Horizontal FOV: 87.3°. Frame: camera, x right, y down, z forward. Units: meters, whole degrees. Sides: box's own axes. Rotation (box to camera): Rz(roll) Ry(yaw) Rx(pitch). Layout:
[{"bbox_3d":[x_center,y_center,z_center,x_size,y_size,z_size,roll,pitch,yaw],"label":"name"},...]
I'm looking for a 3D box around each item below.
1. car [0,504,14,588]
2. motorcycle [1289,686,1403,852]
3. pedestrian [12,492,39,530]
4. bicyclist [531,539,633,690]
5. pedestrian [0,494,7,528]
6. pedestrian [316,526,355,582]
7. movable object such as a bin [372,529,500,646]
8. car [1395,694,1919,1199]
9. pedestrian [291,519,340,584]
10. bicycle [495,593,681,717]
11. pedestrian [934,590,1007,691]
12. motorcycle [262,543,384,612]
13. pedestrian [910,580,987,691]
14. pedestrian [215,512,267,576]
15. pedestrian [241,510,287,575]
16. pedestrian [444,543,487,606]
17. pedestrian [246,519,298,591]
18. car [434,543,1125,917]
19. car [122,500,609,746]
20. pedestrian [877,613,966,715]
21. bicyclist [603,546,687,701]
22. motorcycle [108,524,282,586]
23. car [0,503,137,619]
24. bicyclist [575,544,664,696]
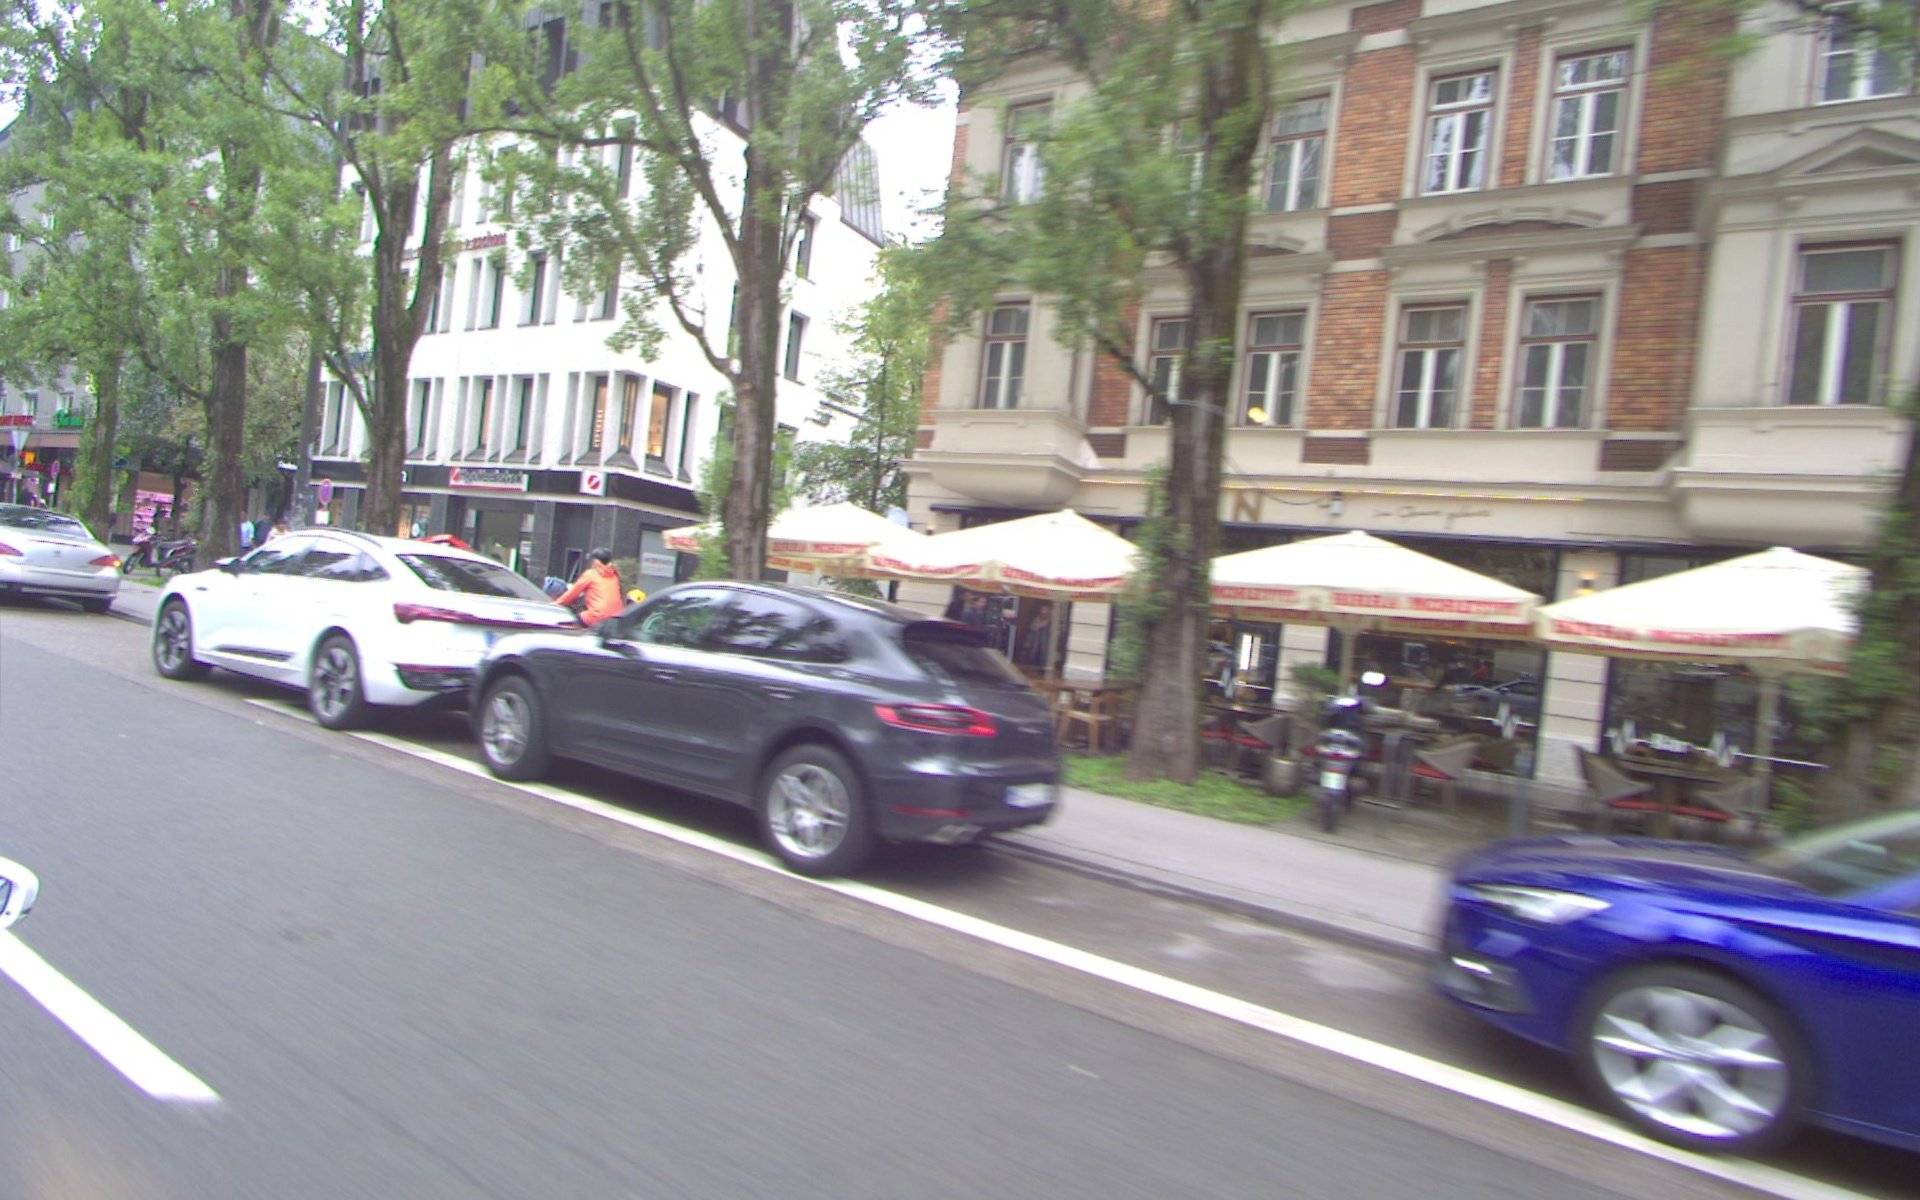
[{"bbox_3d":[-18.402,-1.181,17.601,3.523,1.431,1.685,7,-2,31],"label":"car"},{"bbox_3d":[3.454,1.419,8.906,0.683,1.194,1.834,7,0,26],"label":"motorcycle"},{"bbox_3d":[-40.696,-3.886,43.796,0.476,1.545,0.641,7,1,31],"label":"pedestrian"},{"bbox_3d":[-4.295,0.173,11.444,0.740,1.608,0.622,7,1,31],"label":"bicyclist"},{"bbox_3d":[-43.451,-4.054,45.197,0.667,1.487,0.685,7,1,32],"label":"pedestrian"},{"bbox_3d":[-19.608,-1.441,31.572,0.692,1.647,0.655,7,1,29],"label":"pedestrian"},{"bbox_3d":[-8.641,-0.202,16.596,1.559,1.724,1.035,7,1,28],"label":"movable object such as a bin"},{"bbox_3d":[4.107,1.376,3.639,4.388,1.422,1.753,7,0,29],"label":"car"},{"bbox_3d":[-19.194,-1.439,29.973,0.844,1.771,0.729,6,-1,27],"label":"pedestrian"},{"bbox_3d":[-4.244,0.593,11.393,2.225,1.100,0.627,7,0,31],"label":"bicycle"},{"bbox_3d":[0.193,0.737,18.210,0.916,1.698,0.730,7,1,32],"label":"pedestrian"},{"bbox_3d":[-12.352,-0.415,19.568,0.683,1.153,1.834,6,0,26],"label":"motorcycle"},{"bbox_3d":[-0.196,0.623,17.572,0.916,1.825,0.730,7,1,32],"label":"pedestrian"},{"bbox_3d":[-20.220,-1.579,28.302,0.751,1.645,0.738,7,-1,18],"label":"pedestrian"},{"bbox_3d":[-20.989,-1.728,30.356,0.671,1.834,0.794,7,1,29],"label":"pedestrian"},{"bbox_3d":[-13.791,-0.710,28.083,0.692,1.647,0.655,7,1,29],"label":"pedestrian"},{"bbox_3d":[-16.731,-1.095,24.477,0.693,1.619,0.655,6,-1,32],"label":"pedestrian"},{"bbox_3d":[-1.358,0.661,7.031,4.408,1.584,1.996,7,0,31],"label":"car"},{"bbox_3d":[-5.721,0.141,9.518,4.668,1.640,1.831,7,-1,31],"label":"car"},{"bbox_3d":[-0.520,0.883,13.869,0.719,1.283,0.930,7,0,30],"label":"pedestrian"},{"bbox_3d":[-3.411,0.268,10.913,0.385,1.608,0.622,7,1,31],"label":"bicyclist"},{"bbox_3d":[-18.483,-1.058,24.452,1.172,1.103,3.127,7,-1,24],"label":"motorcycle"},{"bbox_3d":[-14.239,-0.707,14.991,4.058,1.422,1.674,7,-2,31],"label":"car"},{"bbox_3d":[-3.764,0.230,11.129,0.473,1.608,0.622,7,1,31],"label":"bicyclist"}]
